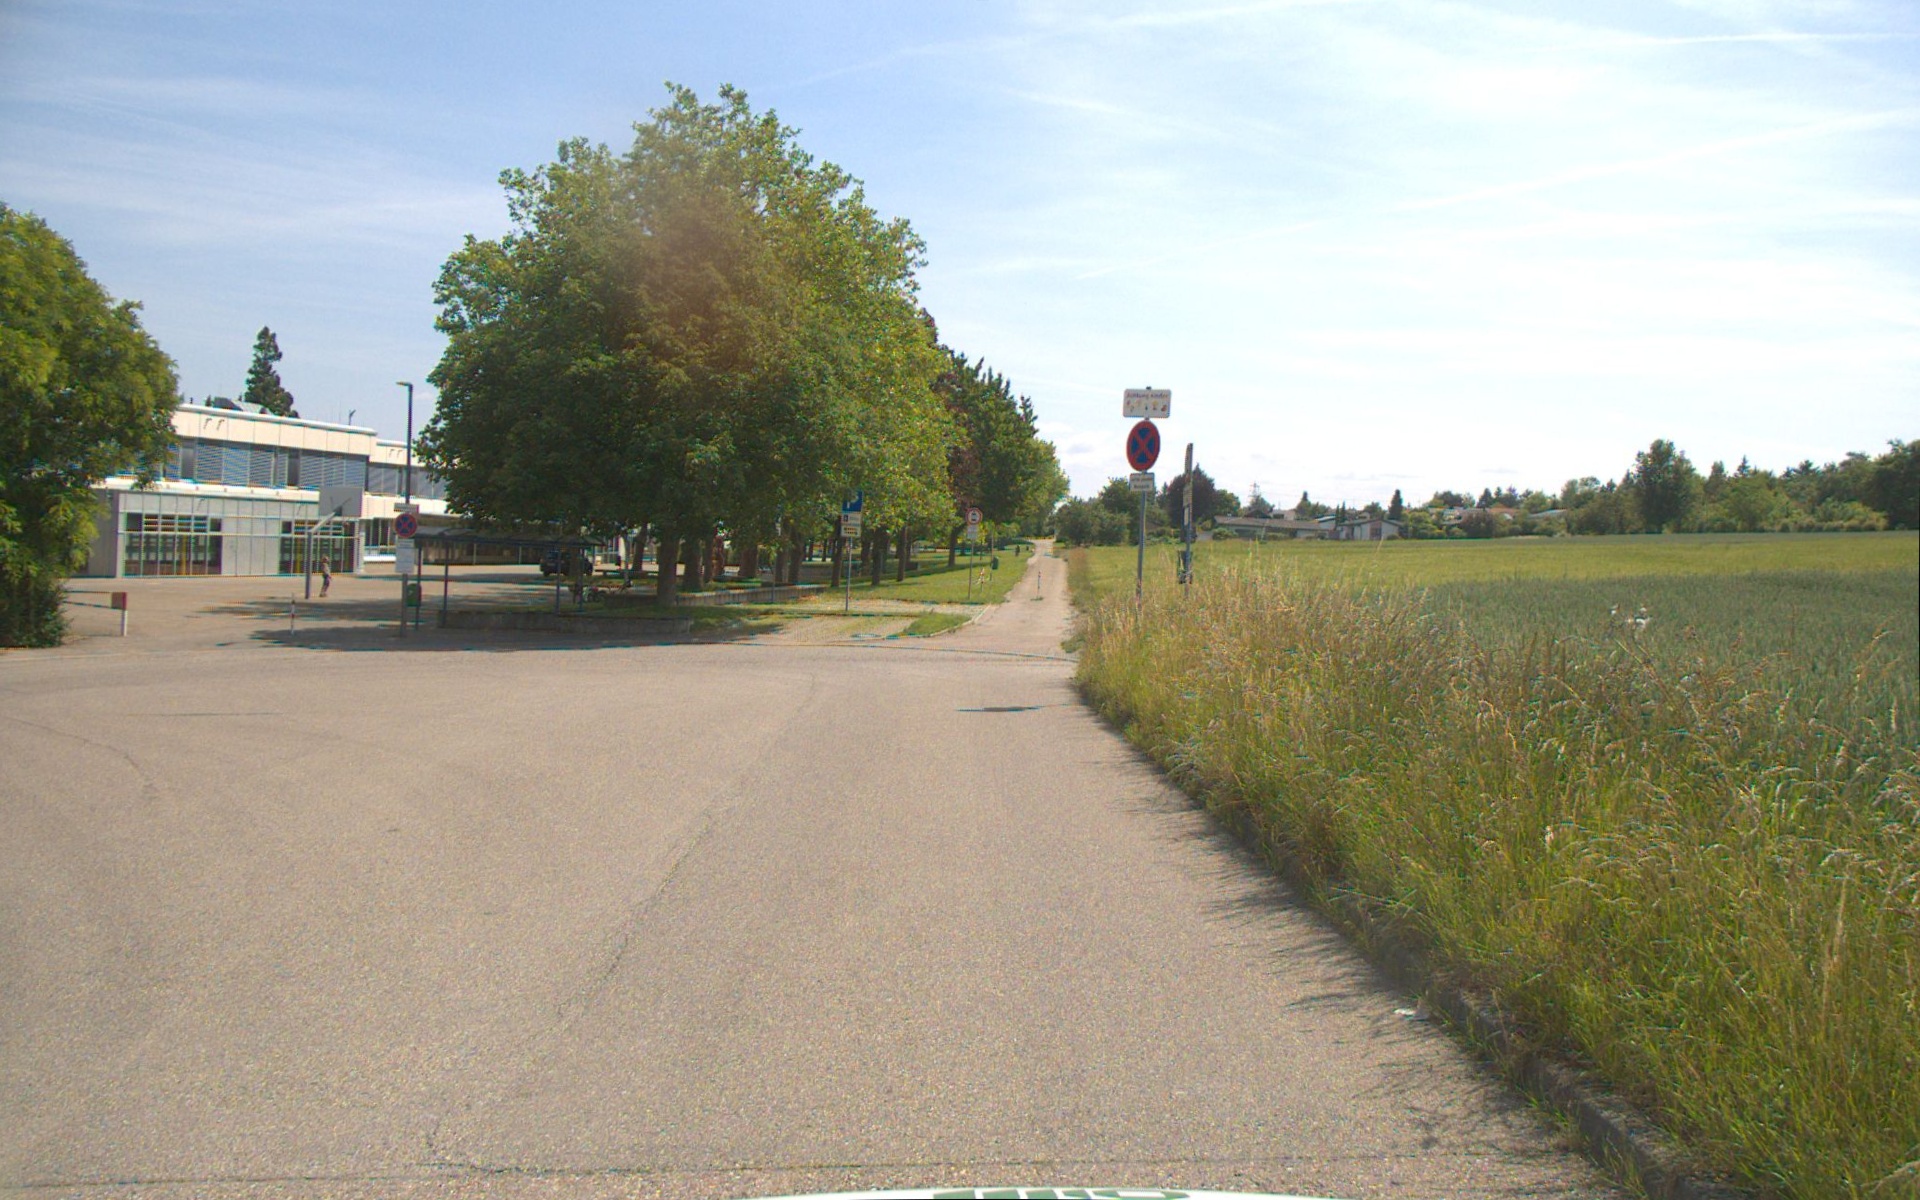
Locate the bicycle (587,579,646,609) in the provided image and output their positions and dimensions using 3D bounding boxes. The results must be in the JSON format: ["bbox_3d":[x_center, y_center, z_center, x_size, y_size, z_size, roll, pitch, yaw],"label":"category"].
[{"bbox_3d":[-12.402,-0.212,59.789,2.022,1.057,0.571,0,1,-6],"label":"bicycle"}]

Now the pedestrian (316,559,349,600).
[{"bbox_3d":[-22.873,-0.765,60.299,1.053,1.448,0.912,1,1,-26],"label":"pedestrian"}]

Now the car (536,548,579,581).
[{"bbox_3d":[-23.539,-2.091,96.770,1.656,1.866,3.411,1,1,0],"label":"car"}]

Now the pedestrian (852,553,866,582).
[{"bbox_3d":[-7.183,-2.317,117.439,0.675,2.048,0.795,1,1,-30],"label":"pedestrian"}]

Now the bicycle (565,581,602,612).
[{"bbox_3d":[-13.157,-0.130,57.784,0.582,1.057,1.895,1,1,10],"label":"bicycle"}]

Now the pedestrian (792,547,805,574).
[{"bbox_3d":[-12.208,-2.997,125.015,0.818,2.048,0.689,1,1,-14],"label":"pedestrian"}]
